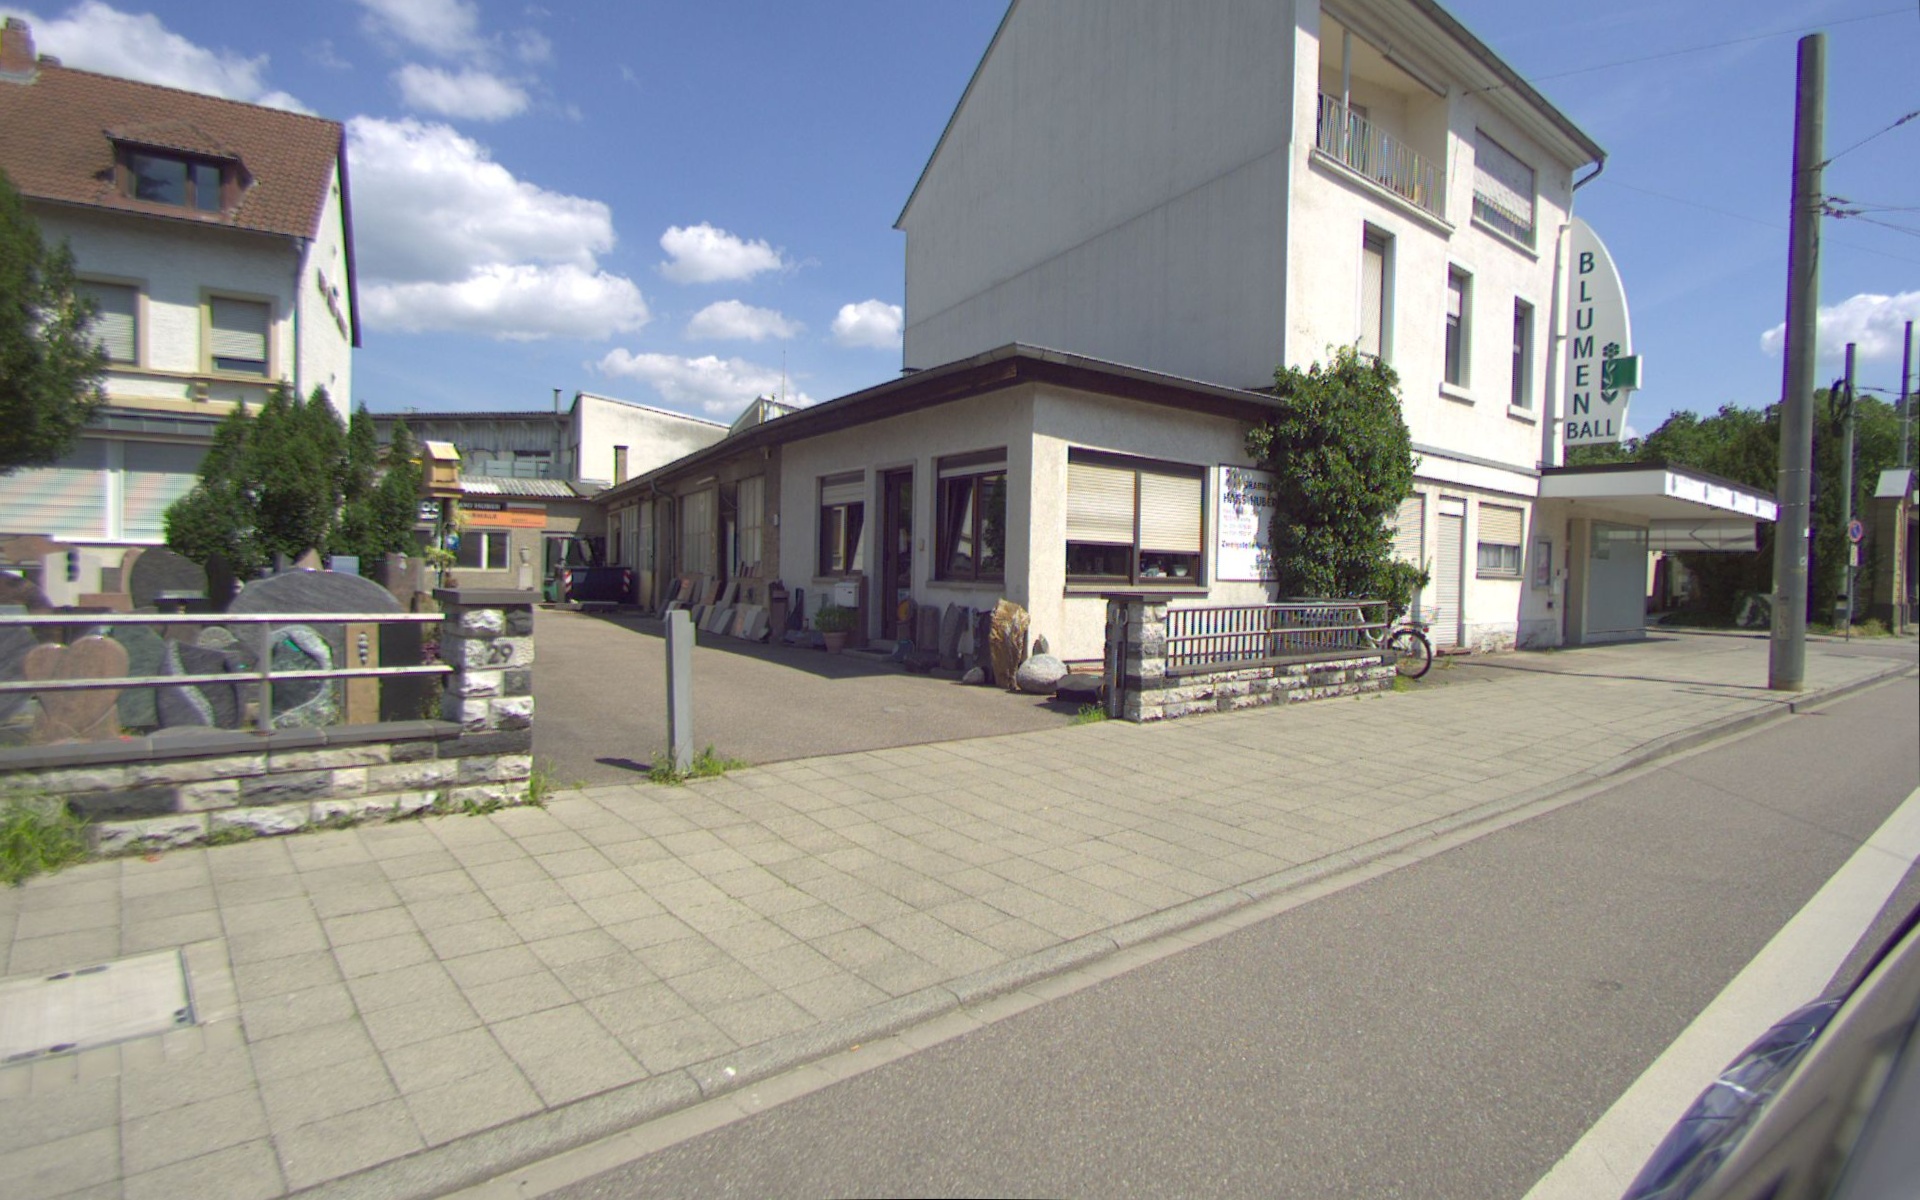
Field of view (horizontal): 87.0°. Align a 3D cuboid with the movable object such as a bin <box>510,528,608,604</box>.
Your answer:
[{"bbox_3d":[-12.800,-1.078,32.243,2.704,2.295,2.004,0,2,-28],"label":"movable object such as a bin"}]

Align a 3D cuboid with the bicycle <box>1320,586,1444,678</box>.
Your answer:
[{"bbox_3d":[5.720,0.403,13.795,0.421,1.099,1.539,0,4,-34],"label":"bicycle"}]
